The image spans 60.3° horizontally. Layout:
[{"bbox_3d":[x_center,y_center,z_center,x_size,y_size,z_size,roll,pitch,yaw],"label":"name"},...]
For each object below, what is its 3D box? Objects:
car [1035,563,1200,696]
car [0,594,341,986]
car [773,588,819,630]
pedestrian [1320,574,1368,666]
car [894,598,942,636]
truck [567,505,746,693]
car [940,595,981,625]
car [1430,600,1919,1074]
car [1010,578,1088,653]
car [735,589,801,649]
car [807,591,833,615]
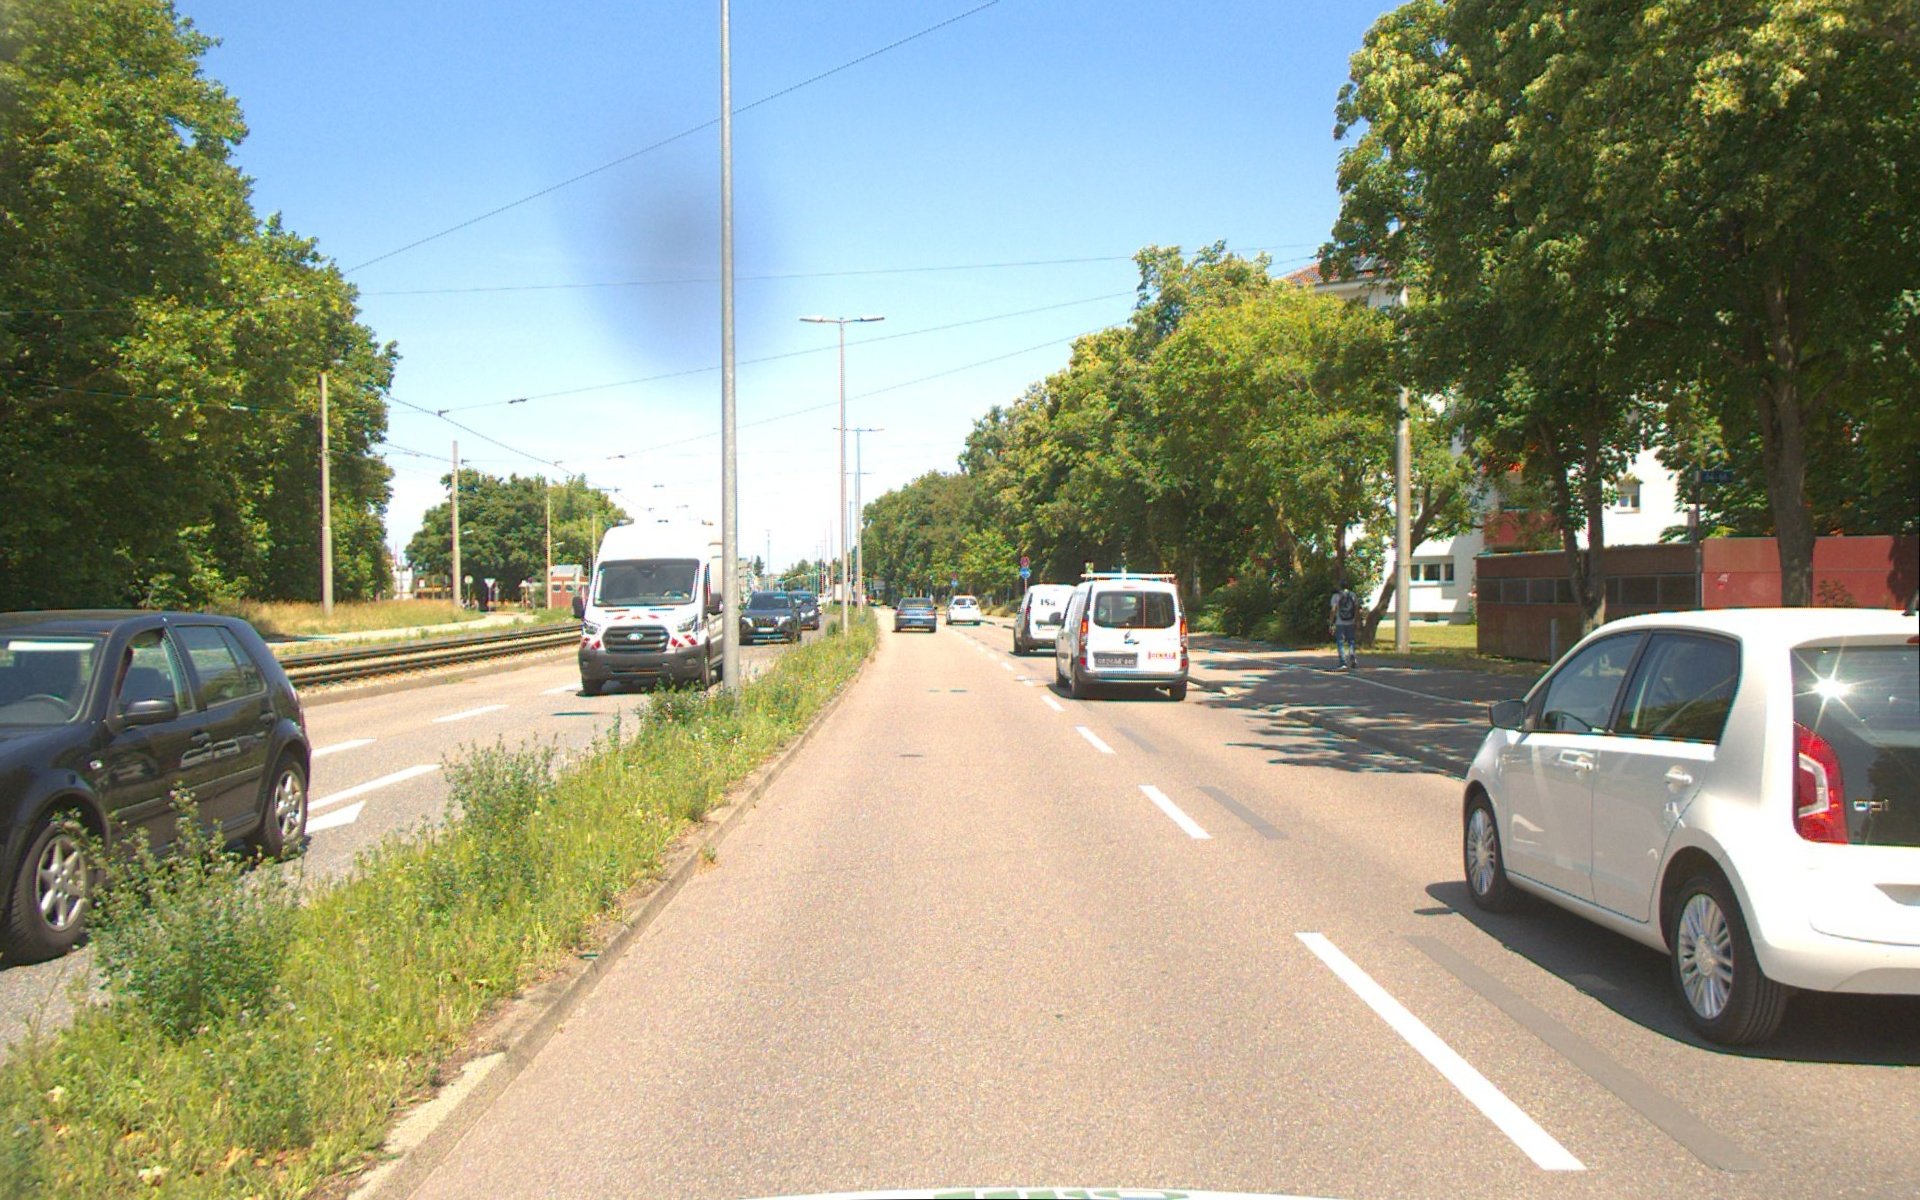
[{"bbox_3d":[2.405,0.436,26.384,1.789,1.915,4.450,1,0,-6],"label":"car"},{"bbox_3d":[-4.564,0.740,8.033,1.681,1.484,3.913,-1,0,-1],"label":"car"},{"bbox_3d":[-7.371,0.384,74.703,1.793,1.743,4.790,-2,0,-3],"label":"car"},{"bbox_3d":[7.070,0.368,30.479,0.655,1.672,0.856,0,0,-2],"label":"pedestrian"},{"bbox_3d":[-1.749,0.689,68.161,1.766,1.512,3.996,0,0,-5],"label":"car"},{"bbox_3d":[-4.981,-0.038,27.939,2.039,2.796,5.545,-2,0,-1],"label":"truck"},{"bbox_3d":[0.006,0.507,88.164,1.768,1.567,3.995,0,0,-6],"label":"car"},{"bbox_3d":[3.390,0.746,7.094,1.625,1.475,3.854,1,0,0],"label":"car"},{"bbox_3d":[2.288,0.382,43.158,1.693,1.845,3.999,1,0,-2],"label":"car"},{"bbox_3d":[-6.159,0.583,53.493,1.793,1.787,4.485,-2,0,-3],"label":"car"},{"bbox_3d":[-11.305,0.233,133.702,1.793,1.769,4.036,-2,0,-2],"label":"car"}]
